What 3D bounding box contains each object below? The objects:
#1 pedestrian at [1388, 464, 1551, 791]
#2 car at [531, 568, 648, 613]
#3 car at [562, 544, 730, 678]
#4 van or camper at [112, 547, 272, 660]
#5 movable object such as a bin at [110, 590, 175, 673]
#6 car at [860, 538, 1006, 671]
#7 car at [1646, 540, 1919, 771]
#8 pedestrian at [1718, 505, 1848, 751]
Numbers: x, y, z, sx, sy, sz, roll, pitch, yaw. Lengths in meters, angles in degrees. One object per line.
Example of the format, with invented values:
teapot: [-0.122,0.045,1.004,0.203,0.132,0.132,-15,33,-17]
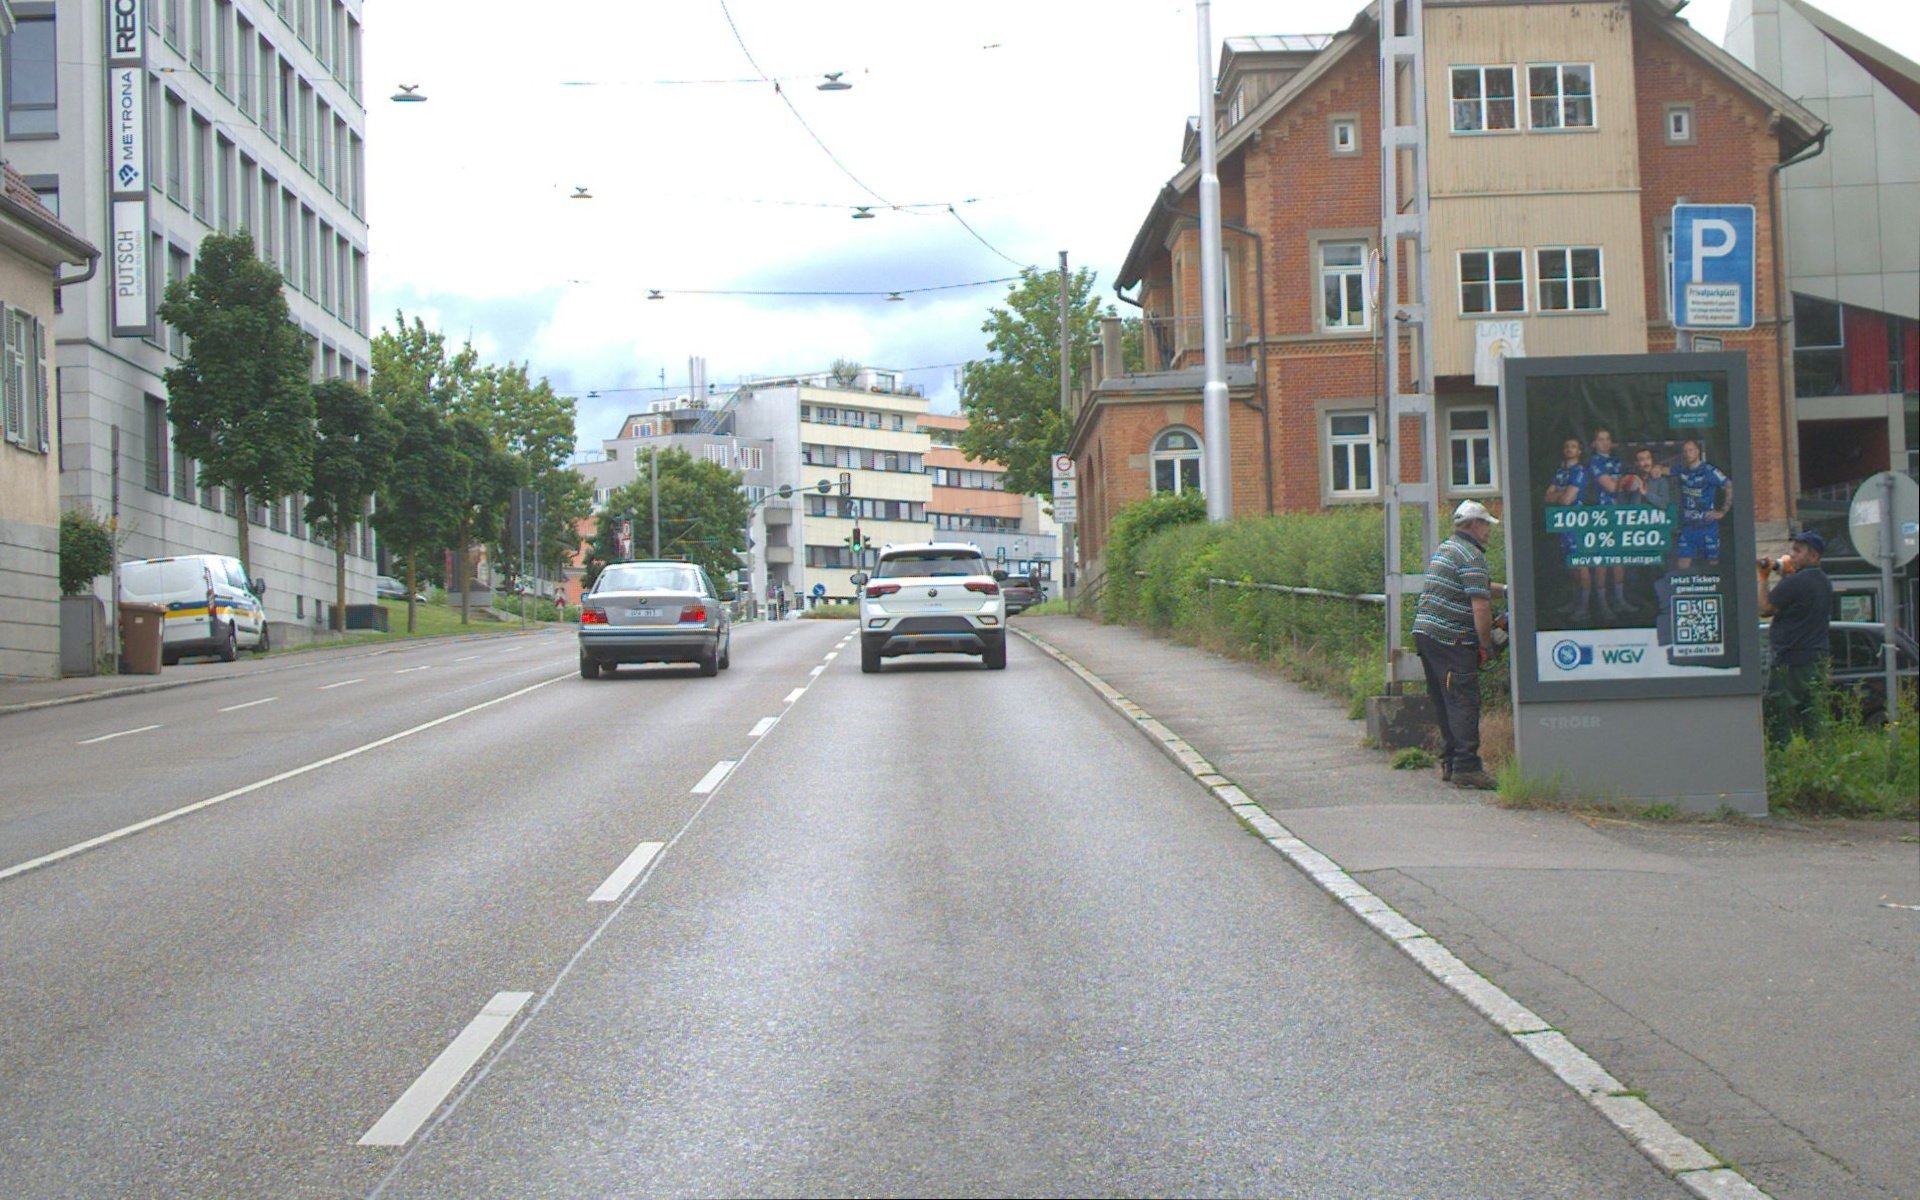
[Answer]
pedestrian: [3.034,0.151,20.550,0.812,1.878,0.948,-3,1,4]
car: [-13.465,-0.350,124.941,1.780,1.539,3.990,-2,-1,44]
car: [-3.767,0.093,41.770,1.700,1.511,3.736,-1,1,-1]
van or camper: [-14.181,0.030,63.749,2.060,1.961,4.873,-2,1,-3]
movable object such as a bin: [-12.063,0.459,50.719,0.810,1.185,0.699,2,0,-6]
car: [-0.344,0.023,42.754,1.700,1.543,3.736,1,1,-1]
car: [6.750,0.392,24.248,3.487,1.536,1.577,1,1,1]
pedestrian: [5.385,0.175,22.507,0.645,1.566,0.585,-3,1,0]
